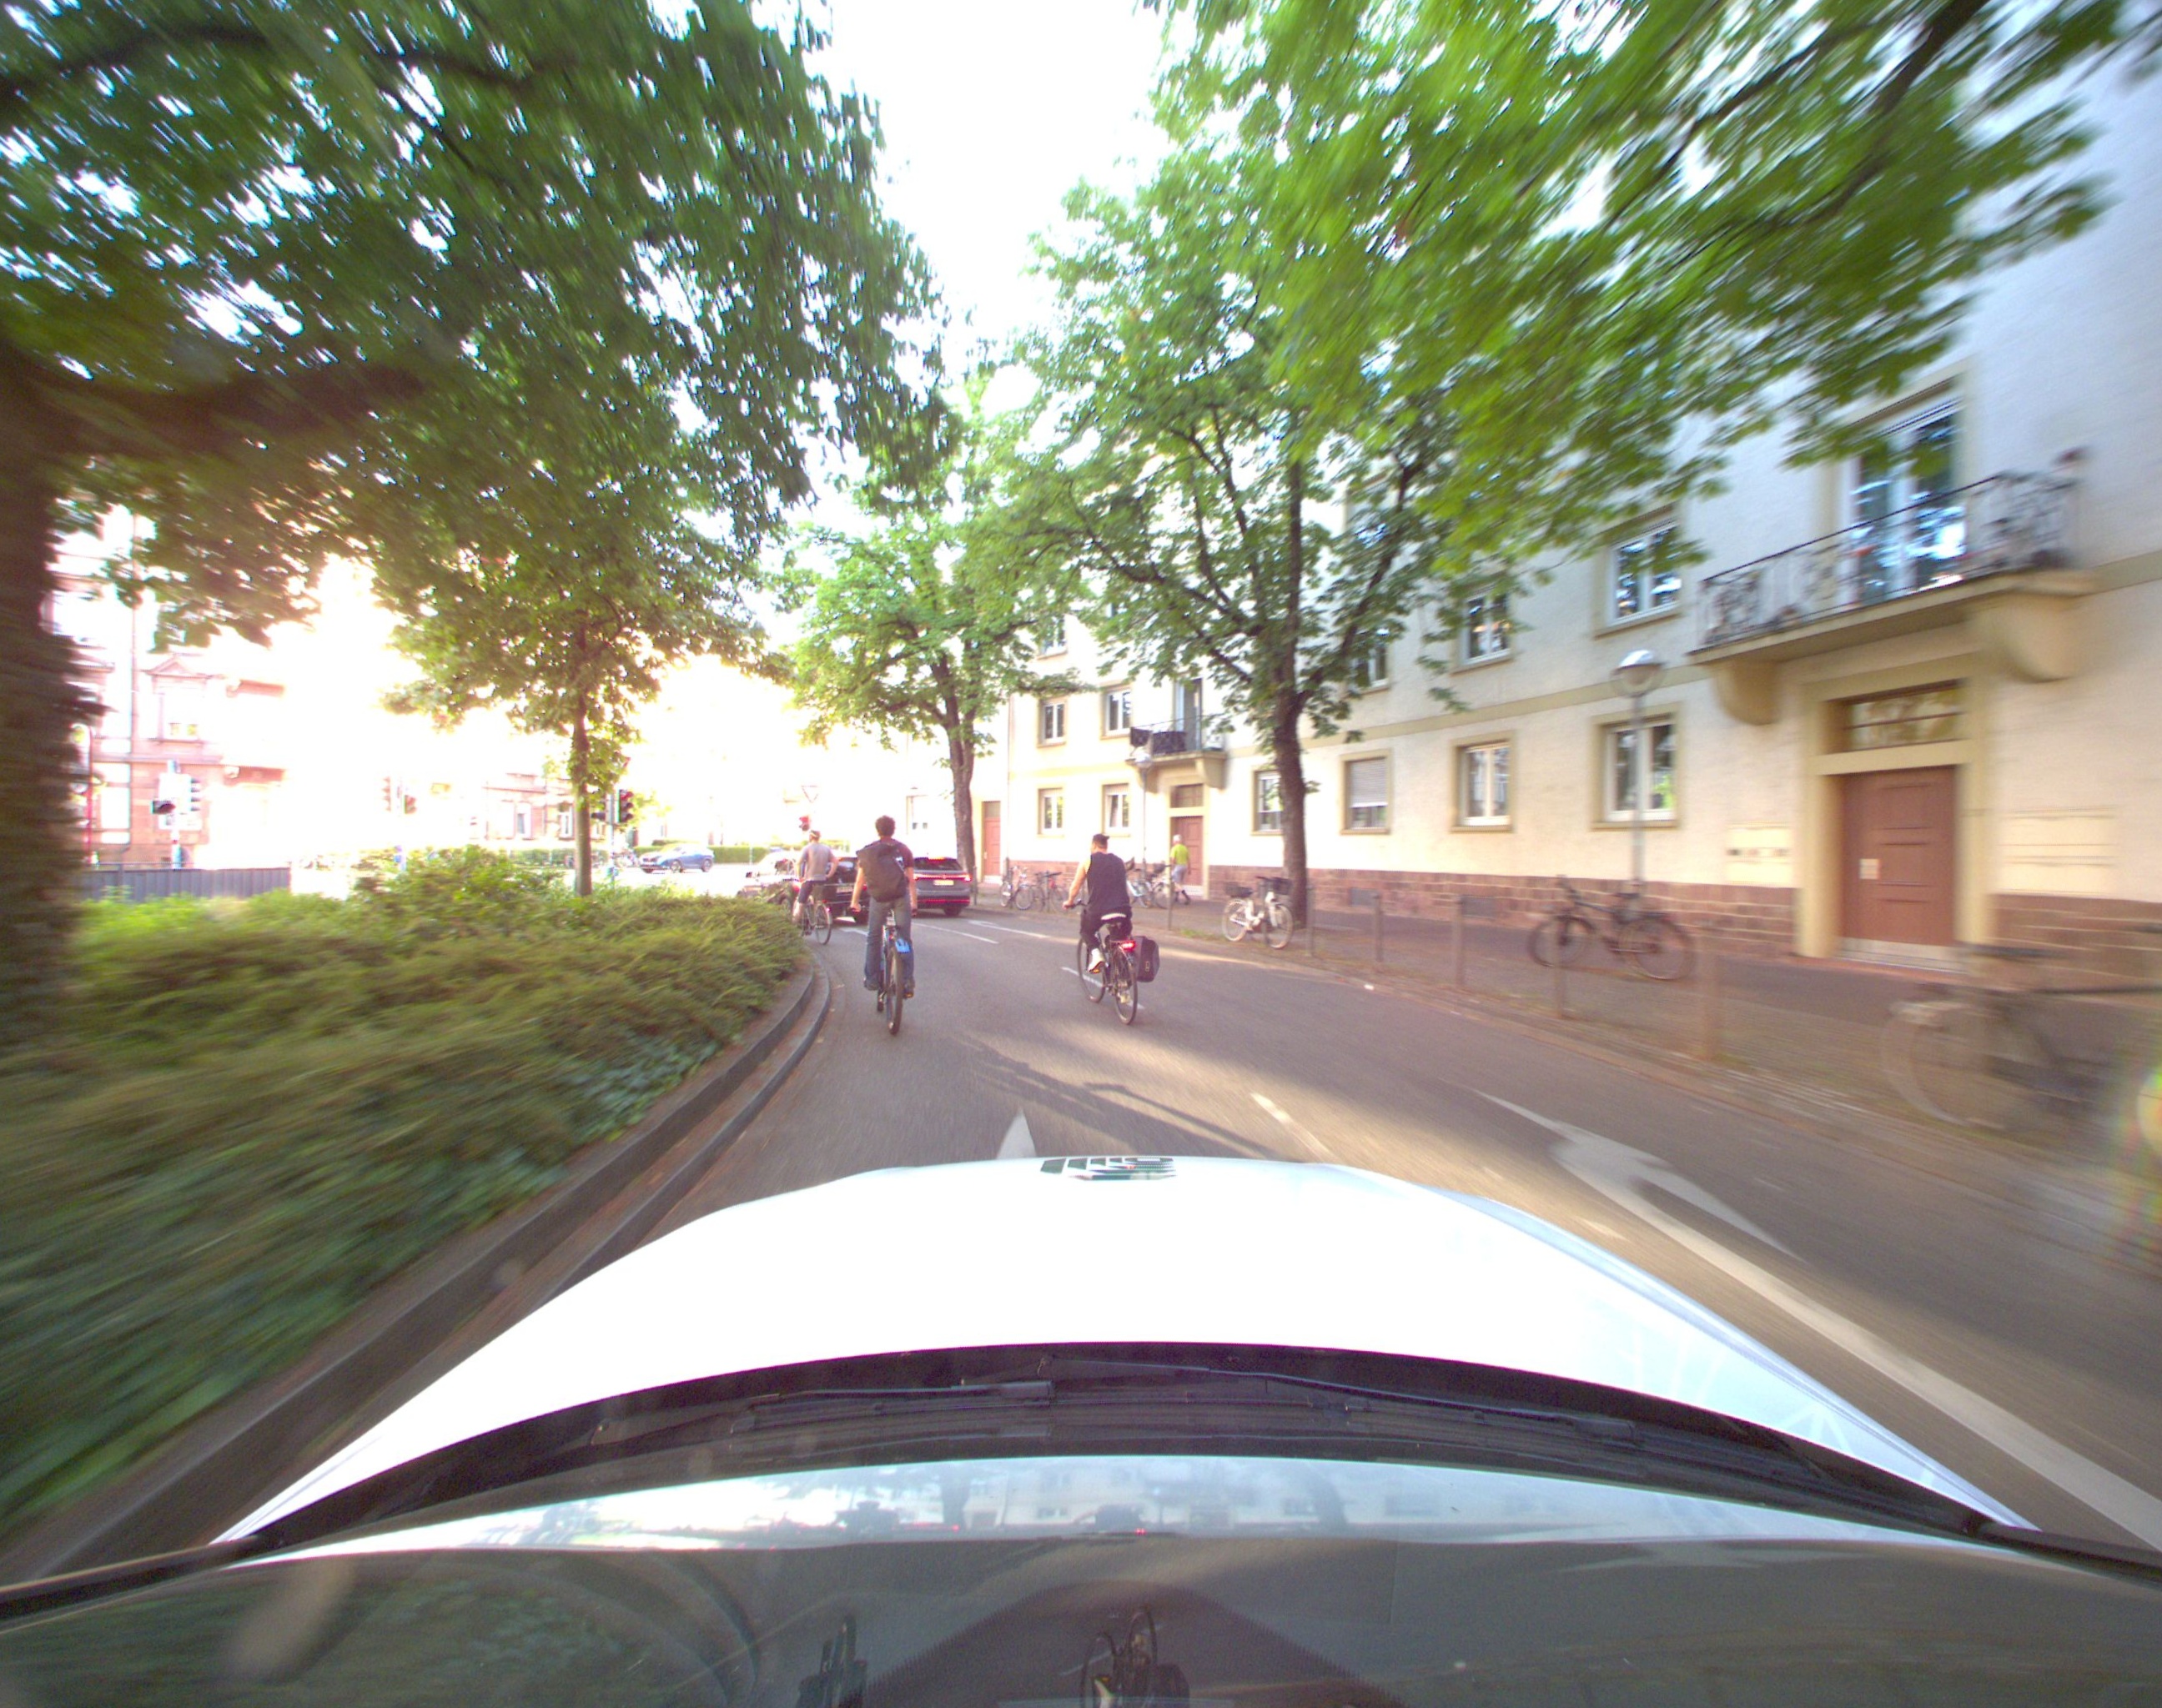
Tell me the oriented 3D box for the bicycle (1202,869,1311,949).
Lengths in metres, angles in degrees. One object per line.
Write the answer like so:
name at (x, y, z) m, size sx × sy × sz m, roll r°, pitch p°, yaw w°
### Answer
bicycle at (2.786, 0.844, 13.174) m, size 0.619 × 1.112 × 1.975 m, roll -3°, pitch 2°, yaw -25°

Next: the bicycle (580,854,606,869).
bicycle at (-28.021, 0.422, 46.802) m, size 0.445 × 0.861 × 1.231 m, roll 1°, pitch 0°, yaw 27°

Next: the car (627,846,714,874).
car at (-22.822, 0.314, 45.520) m, size 1.980 × 1.496 × 4.390 m, roll 1°, pitch 0°, yaw 13°

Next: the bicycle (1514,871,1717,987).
bicycle at (6.099, 0.805, 9.396) m, size 0.676 × 1.182 × 1.802 m, roll -2°, pitch 0°, yaw -34°

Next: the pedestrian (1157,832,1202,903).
pedestrian at (2.554, 0.331, 21.097) m, size 1.003 × 1.795 × 0.651 m, roll -2°, pitch 1°, yaw -44°

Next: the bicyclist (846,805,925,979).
bicyclist at (-1.837, 0.332, 7.681) m, size 0.672 × 1.514 × 1.064 m, roll 0°, pitch 0°, yaw -14°

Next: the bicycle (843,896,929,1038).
bicycle at (-1.821, 0.970, 7.650) m, size 0.675 × 1.054 × 2.052 m, roll 0°, pitch -1°, yaw -13°

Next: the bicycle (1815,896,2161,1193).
bicycle at (4.833, 0.839, 3.925) m, size 0.678 × 1.158 × 1.997 m, roll -1°, pitch 0°, yaw -5°

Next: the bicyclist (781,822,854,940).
bicyclist at (-4.486, 0.433, 13.838) m, size 0.857 × 1.898 × 1.127 m, roll 0°, pitch 0°, yaw -37°

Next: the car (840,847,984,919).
car at (-4.257, 0.639, 20.122) m, size 1.907 × 1.577 × 3.955 m, roll 0°, pitch 0°, yaw -38°

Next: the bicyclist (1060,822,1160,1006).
bicyclist at (0.261, 0.544, 7.959) m, size 0.753 × 1.682 × 0.909 m, roll 0°, pitch 0°, yaw -14°

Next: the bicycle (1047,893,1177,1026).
bicycle at (0.234, 0.955, 8.042) m, size 0.738 × 1.012 × 2.052 m, roll 1°, pitch 1°, yaw -14°

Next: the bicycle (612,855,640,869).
bicycle at (-27.489, 0.466, 49.210) m, size 0.445 × 0.861 × 1.455 m, roll 1°, pitch 0°, yaw 27°

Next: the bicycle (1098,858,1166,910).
bicycle at (1.230, 0.704, 20.128) m, size 0.498 × 1.172 × 2.095 m, roll -4°, pitch 2°, yaw -33°

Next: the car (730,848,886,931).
car at (-5.975, 0.674, 17.569) m, size 1.828 × 1.543 × 3.912 m, roll -2°, pitch 1°, yaw -41°

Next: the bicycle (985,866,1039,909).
bicycle at (-1.786, 0.822, 20.759) m, size 0.523 × 0.999 × 2.171 m, roll 0°, pitch 0°, yaw -29°

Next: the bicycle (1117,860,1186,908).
bicycle at (1.731, 0.728, 20.470) m, size 0.586 × 1.114 × 2.096 m, roll -1°, pitch 1°, yaw -32°

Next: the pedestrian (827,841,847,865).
pedestrian at (-20.773, -0.102, 69.360) m, size 1.152 × 1.962 × 1.390 m, roll 1°, pitch 0°, yaw 7°

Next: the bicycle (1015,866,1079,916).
bicycle at (-0.835, 0.858, 19.492) m, size 0.620 × 1.058 × 1.908 m, roll -2°, pitch 2°, yaw -34°

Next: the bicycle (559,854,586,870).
bicycle at (-28.504, 0.457, 45.688) m, size 0.445 × 0.861 × 1.231 m, roll 1°, pitch 0°, yaw 27°

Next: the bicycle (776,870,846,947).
bicycle at (-4.649, 0.888, 13.929) m, size 0.602 × 1.161 × 2.020 m, roll 1°, pitch 0°, yaw -34°

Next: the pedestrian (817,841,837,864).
pedestrian at (-21.739, -0.135, 69.797) m, size 1.152 × 1.962 × 1.390 m, roll 1°, pitch 0°, yaw 7°
